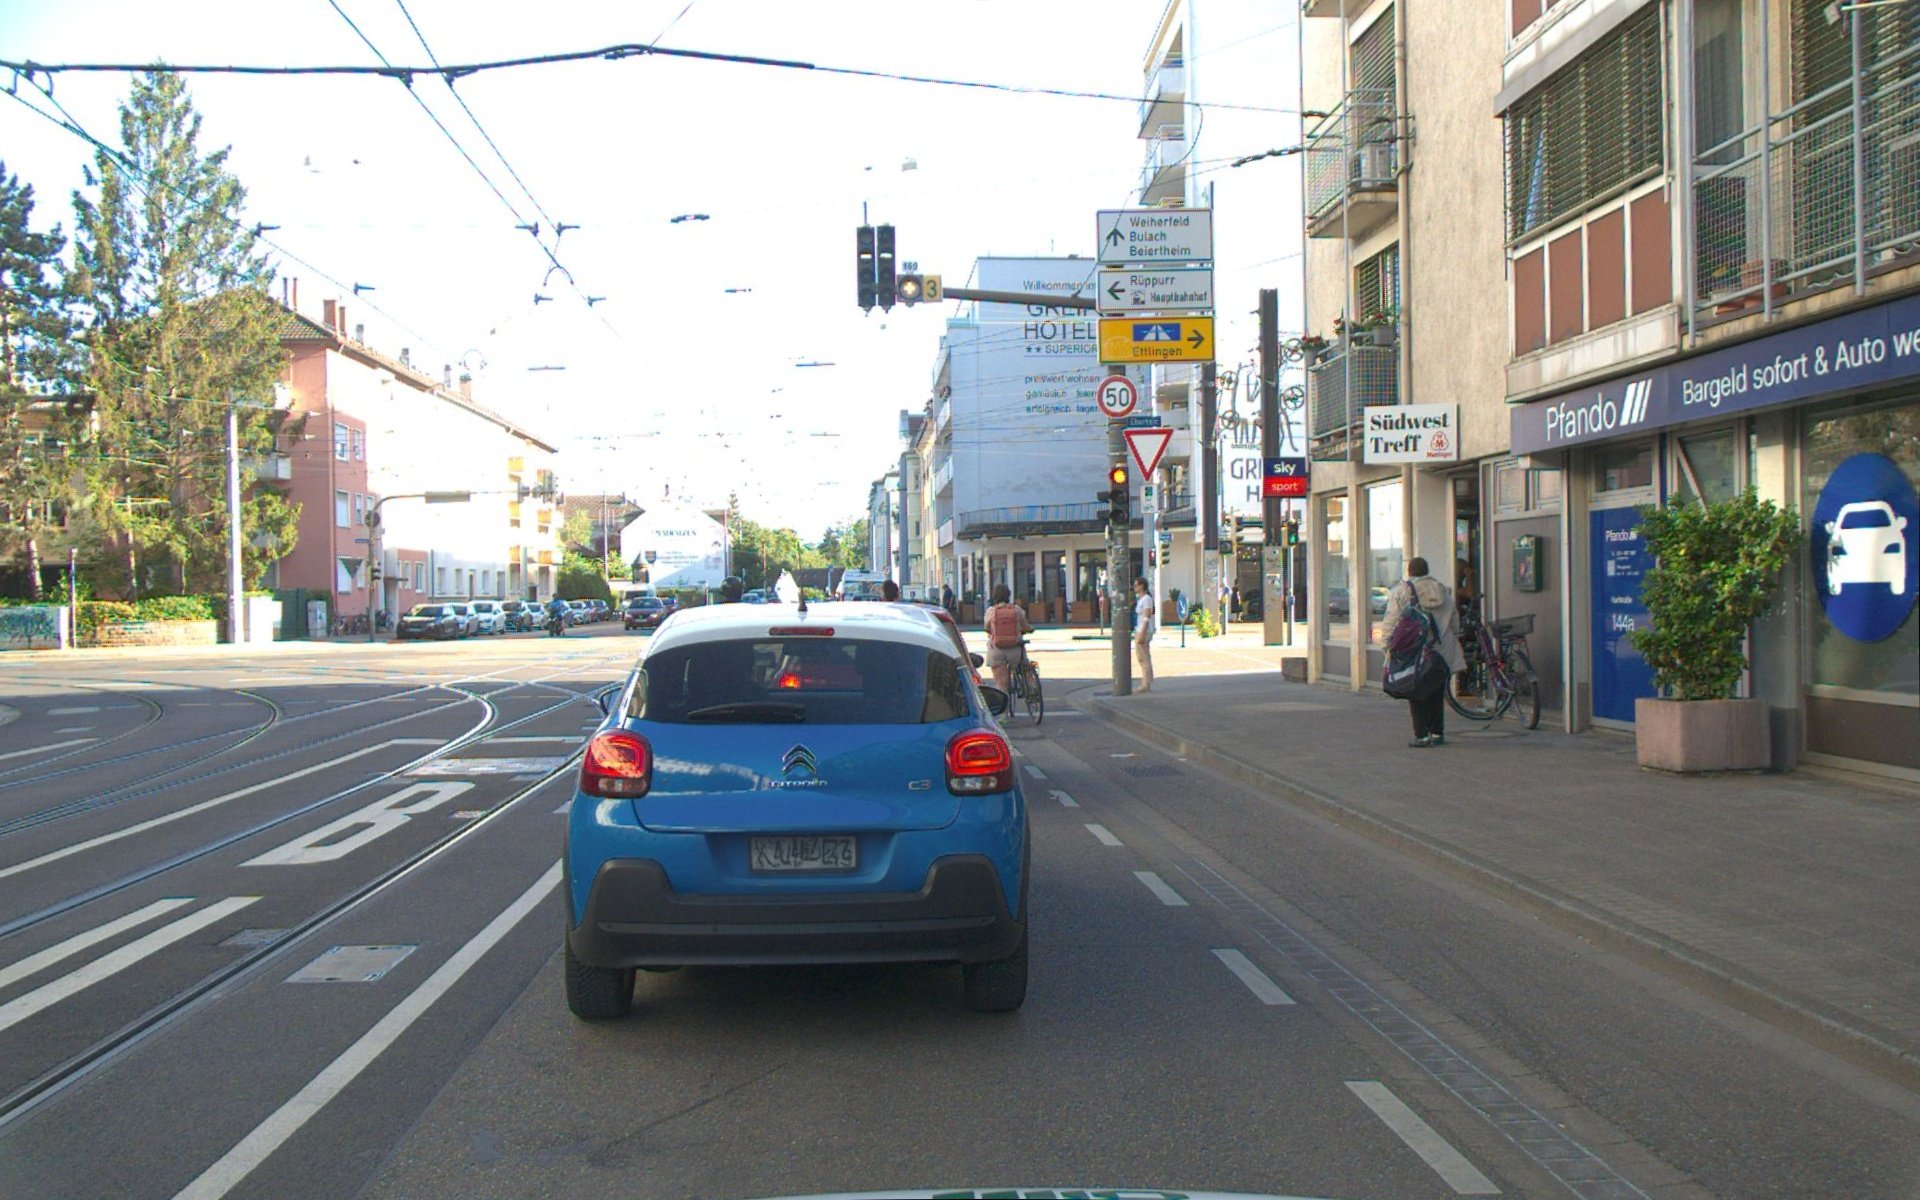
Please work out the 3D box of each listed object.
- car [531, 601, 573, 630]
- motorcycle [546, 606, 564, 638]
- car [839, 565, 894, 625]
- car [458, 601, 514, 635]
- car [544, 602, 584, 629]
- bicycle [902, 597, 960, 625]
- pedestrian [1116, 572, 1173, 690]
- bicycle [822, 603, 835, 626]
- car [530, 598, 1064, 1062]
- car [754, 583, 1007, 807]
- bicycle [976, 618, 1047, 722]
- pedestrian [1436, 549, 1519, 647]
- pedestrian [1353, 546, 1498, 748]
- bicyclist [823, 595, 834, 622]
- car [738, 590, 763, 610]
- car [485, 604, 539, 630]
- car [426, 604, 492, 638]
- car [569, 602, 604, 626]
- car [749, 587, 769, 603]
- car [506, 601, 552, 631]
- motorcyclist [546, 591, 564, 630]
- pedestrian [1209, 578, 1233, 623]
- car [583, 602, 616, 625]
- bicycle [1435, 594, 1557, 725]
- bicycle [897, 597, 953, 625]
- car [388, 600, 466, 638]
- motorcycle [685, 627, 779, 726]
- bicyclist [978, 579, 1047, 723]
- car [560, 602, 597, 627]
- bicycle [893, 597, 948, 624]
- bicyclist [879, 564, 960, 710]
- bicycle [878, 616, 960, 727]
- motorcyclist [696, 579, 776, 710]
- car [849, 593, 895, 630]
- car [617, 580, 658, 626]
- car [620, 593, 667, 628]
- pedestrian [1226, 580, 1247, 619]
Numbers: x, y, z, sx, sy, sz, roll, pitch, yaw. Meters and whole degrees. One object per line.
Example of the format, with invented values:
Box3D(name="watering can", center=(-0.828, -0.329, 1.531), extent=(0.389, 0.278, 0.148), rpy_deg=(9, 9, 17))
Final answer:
Box3D(name="car", center=(-24.063, 0.908, 97.597), extent=(1.833, 1.604, 3.995), rpy_deg=(1, 0, -6))
Box3D(name="motorcycle", center=(-16.330, 0.887, 66.716), extent=(0.700, 1.241, 1.958), rpy_deg=(-1, -2, -14))
Box3D(name="car", center=(-4.145, -0.214, 72.760), extent=(2.221, 2.525, 5.002), rpy_deg=(0, 0, -5))
Box3D(name="car", center=(-22.627, 0.856, 79.114), extent=(1.707, 1.553, 4.226), rpy_deg=(1, 0, -4))
Box3D(name="car", center=(-24.456, 0.921, 102.230), extent=(1.833, 1.604, 3.995), rpy_deg=(1, 0, -6))
Box3D(name="bicycle", center=(-1.144, 0.447, 65.784), extent=(2.208, 1.019, 0.855), rpy_deg=(-2, 0, -6))
Box3D(name="pedestrian", center=(2.700, 0.451, 24.170), extent=(0.528, 1.652, 0.733), rpy_deg=(-5, -2, 21))
Box3D(name="bicycle", center=(-10.138, 1.117, 127.370), extent=(0.774, 1.699, 2.230), rpy_deg=(1, 0, 1))
Box3D(name="car", center=(-0.419, 0.734, 7.155), extent=(1.700, 1.478, 3.664), rpy_deg=(0, 0, 4))
Box3D(name="car", center=(-0.728, 0.654, 13.485), extent=(1.750, 1.548, 3.758), rpy_deg=(1, 1, -5))
Box3D(name="bicycle", center=(0.667, 0.835, 20.528), extent=(0.794, 1.202, 2.065), rpy_deg=(1, 0, 4))
Box3D(name="pedestrian", center=(6.022, -0.024, 19.252), extent=(0.618, 1.106, 0.670), rpy_deg=(-2, 1, -38))
Box3D(name="pedestrian", center=(3.969, 0.383, 14.152), extent=(0.868, 1.619, 0.809), rpy_deg=(-3, 1, -9))
Box3D(name="bicyclist", center=(-10.131, 0.643, 127.380), extent=(0.774, 2.060, 0.986), rpy_deg=(1, -1, 0))
Box3D(name="car", center=(-21.569, 0.027, 170.580), extent=(2.174, 1.965, 4.945), rpy_deg=(1, 0, -4))
Box3D(name="car", center=(-23.124, 0.867, 85.514), extent=(1.909, 1.261, 4.278), rpy_deg=(1, 0, -5))
Box3D(name="car", center=(-22.346, 0.909, 73.908), extent=(1.865, 1.462, 4.100), rpy_deg=(1, 0, -3))
Box3D(name="car", center=(-25.313, 0.947, 112.215), extent=(1.833, 1.604, 3.995), rpy_deg=(1, 0, -6))
Box3D(name="car", center=(-22.774, -0.521, 187.495), extent=(2.033, 1.793, 5.032), rpy_deg=(1, 0, -4))
Box3D(name="car", center=(-23.850, 0.888, 91.696), extent=(1.833, 1.604, 3.995), rpy_deg=(1, 0, -6))
Box3D(name="motorcyclist", center=(-16.366, 0.431, 66.858), extent=(0.681, 1.523, 0.682), rpy_deg=(-1, -2, -14))
Box3D(name="pedestrian", center=(9.569, 0.019, 60.606), extent=(0.600, 1.636, 0.666), rpy_deg=(1, -1, 38))
Box3D(name="car", center=(-25.810, 0.964, 118.565), extent=(1.833, 1.604, 3.995), rpy_deg=(1, 0, -6))
Box3D(name="bicycle", center=(5.099, 0.545, 15.831), extent=(0.486, 1.182, 1.776), rpy_deg=(-1, 0, -4))
Box3D(name="bicycle", center=(-1.433, 0.438, 67.146), extent=(2.208, 1.019, 0.855), rpy_deg=(-2, 0, -6))
Box3D(name="car", center=(-22.098, 0.817, 68.707), extent=(2.112, 1.457, 4.435), rpy_deg=(1, -2, -5))
Box3D(name="motorcycle", center=(-2.649, 0.872, 19.421), extent=(0.837, 1.065, 1.942), rpy_deg=(1, 0, -1))
Box3D(name="bicyclist", center=(0.659, 0.612, 20.396), extent=(0.794, 1.721, 0.935), rpy_deg=(1, 0, 4))
Box3D(name="car", center=(-24.700, 0.937, 107.151), extent=(1.833, 1.604, 3.995), rpy_deg=(1, 0, -6))
Box3D(name="bicycle", center=(-1.630, 0.447, 68.255), extent=(2.208, 1.019, 0.855), rpy_deg=(-2, 0, -6))
Box3D(name="bicyclist", center=(-0.497, 0.440, 19.983), extent=(0.921, 1.702, 1.079), rpy_deg=(1, 0, -2))
Box3D(name="bicycle", center=(-0.504, 0.831, 19.944), extent=(0.921, 1.245, 2.094), rpy_deg=(1, 0, -2))
Box3D(name="motorcyclist", center=(-2.649, 0.522, 19.611), extent=(0.837, 1.514, 0.729), rpy_deg=(1, -1, -1))
Box3D(name="car", center=(-3.626, 0.471, 67.797), extent=(1.626, 1.456, 3.882), rpy_deg=(1, 0, -7))
Box3D(name="car", center=(-23.119, 0.234, 118.693), extent=(2.370, 3.197, 3.486), rpy_deg=(1, 0, -4))
Box3D(name="car", center=(-14.553, 0.467, 76.202), extent=(1.744, 1.512, 3.824), rpy_deg=(-1, 0, -5))
Box3D(name="pedestrian", center=(10.504, -0.010, 62.761), extent=(0.595, 1.469, 0.554), rpy_deg=(1, -1, 32))
